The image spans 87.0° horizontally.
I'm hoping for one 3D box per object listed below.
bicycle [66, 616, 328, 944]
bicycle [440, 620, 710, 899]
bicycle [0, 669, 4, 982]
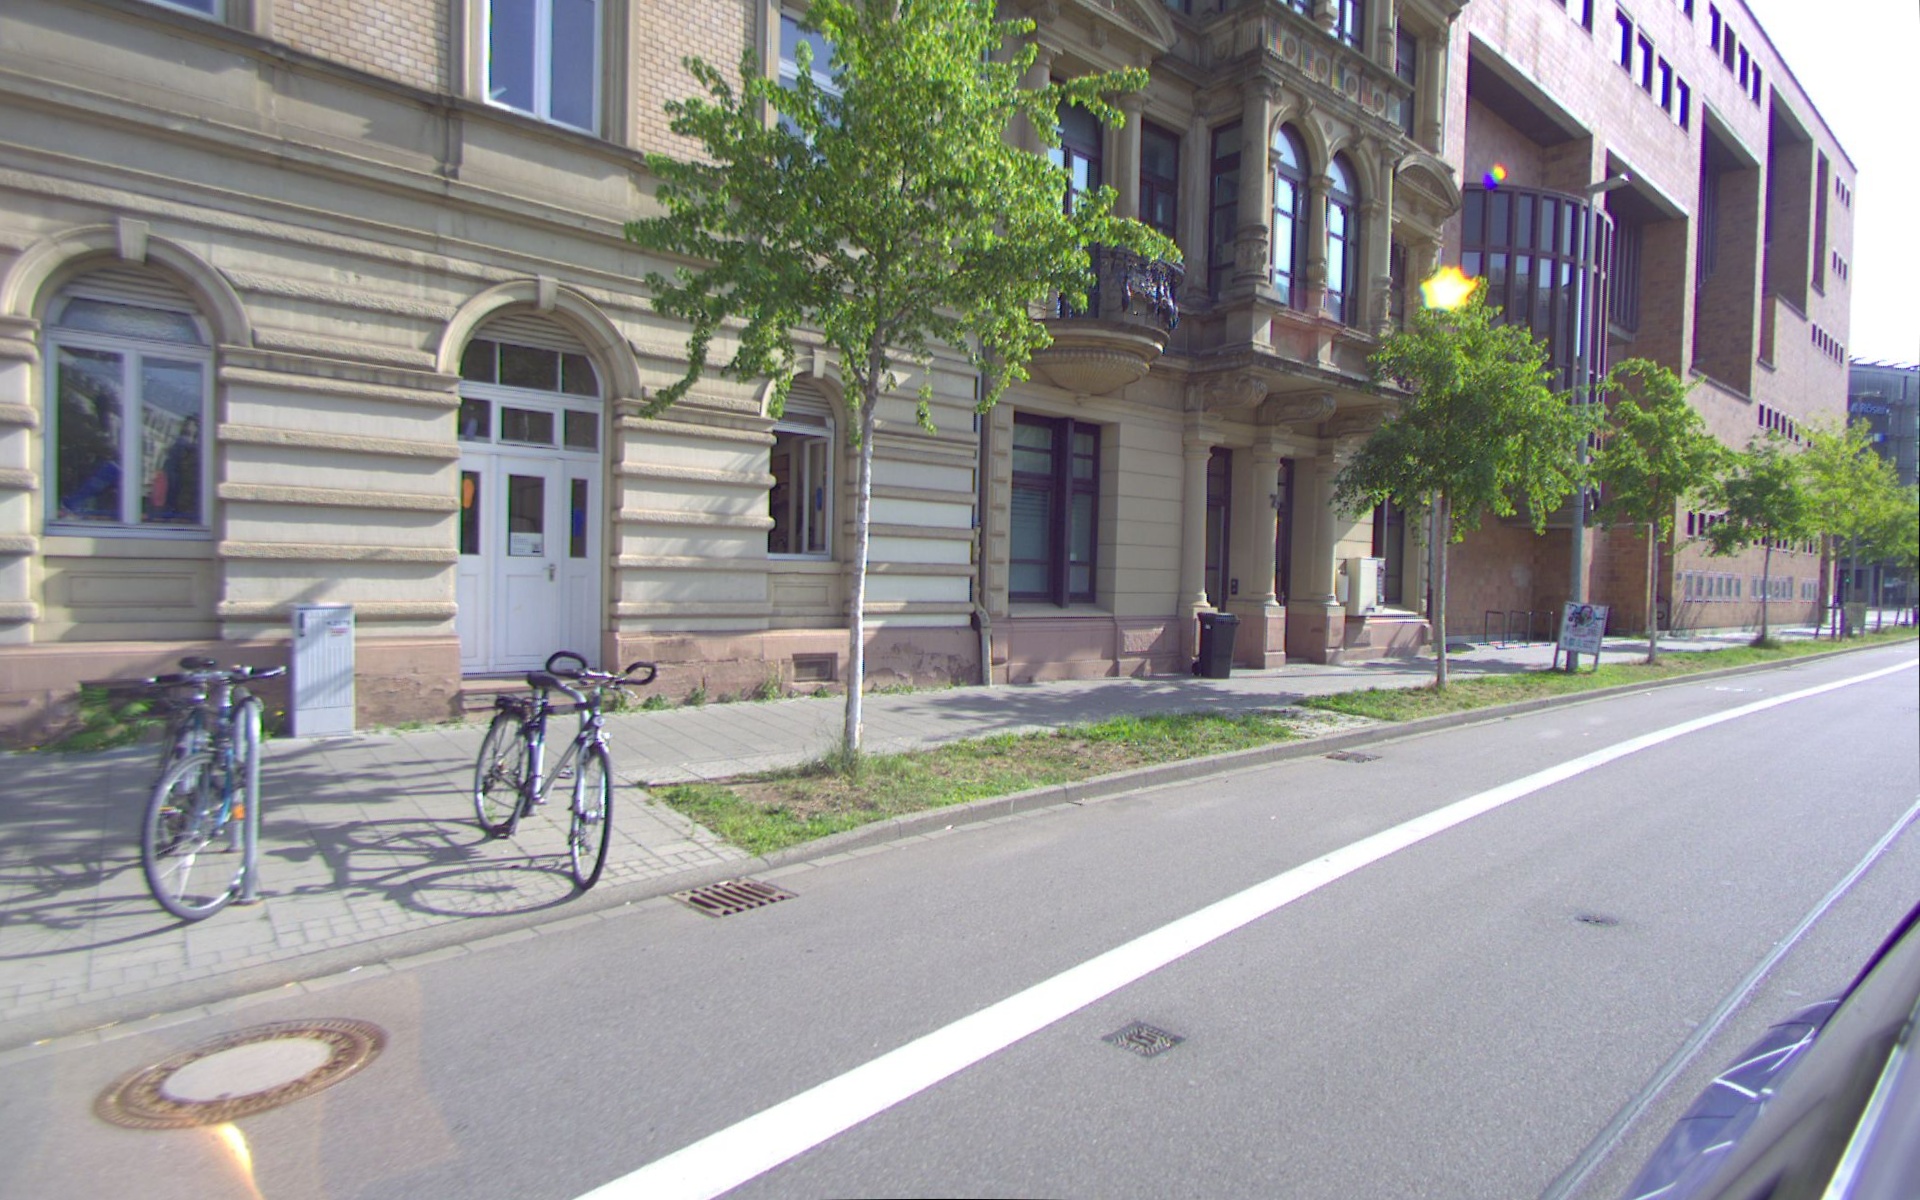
[{"bbox_3d":[-3.662,0.725,4.794,1.755,1.100,0.648,7,5,41],"label":"bicycle"},{"bbox_3d":[-2.145,0.760,5.506,1.755,1.100,0.602,7,5,41],"label":"bicycle"},{"bbox_3d":[-4.248,0.727,3.639,1.745,1.100,0.666,6,4,28],"label":"bicycle"}]
